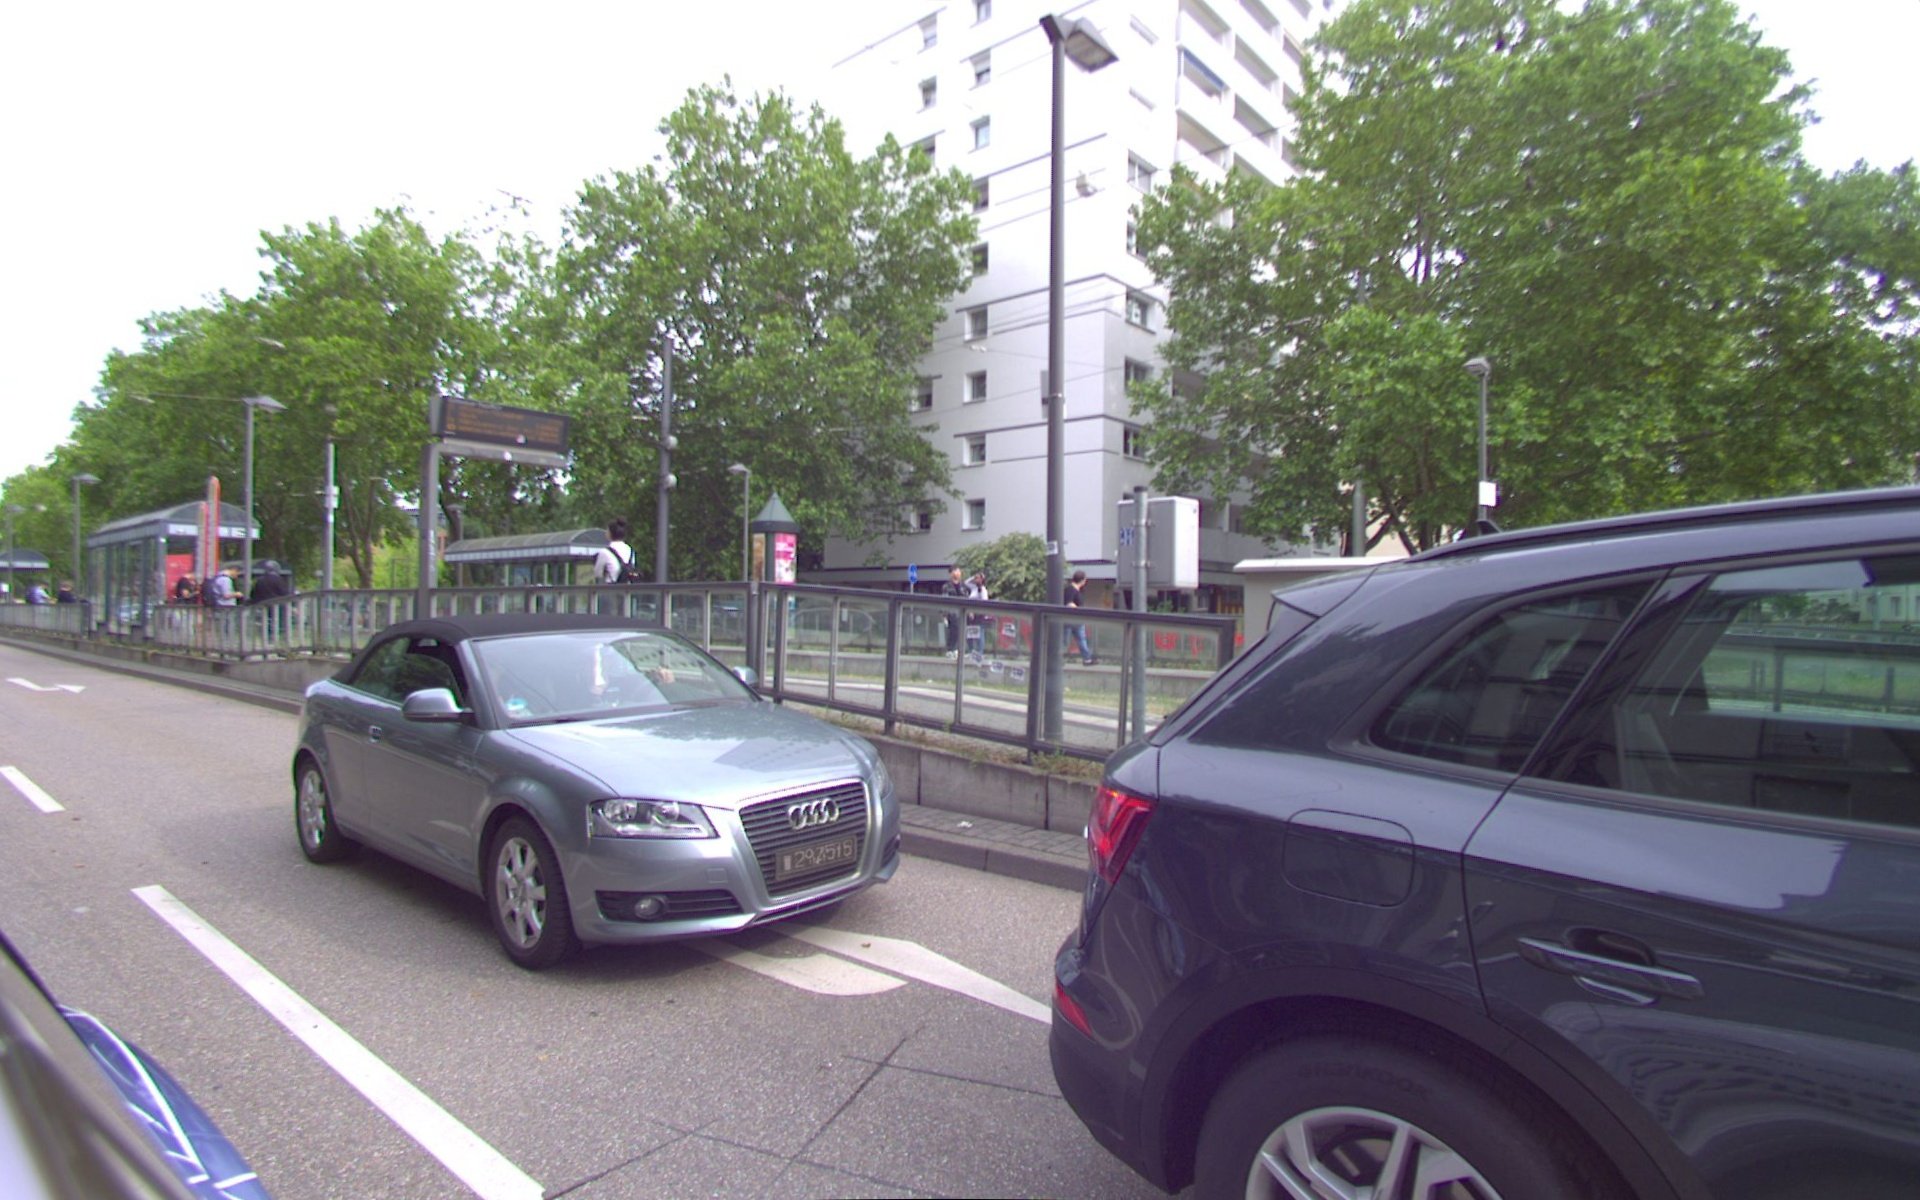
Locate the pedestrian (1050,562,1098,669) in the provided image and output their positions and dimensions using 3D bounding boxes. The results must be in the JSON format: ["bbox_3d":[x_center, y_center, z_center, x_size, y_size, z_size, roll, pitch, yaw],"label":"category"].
[{"bbox_3d":[1.939,0.254,17.214,0.548,1.764,0.614,0,0,42],"label":"pedestrian"}]

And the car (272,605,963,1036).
[{"bbox_3d":[-2.021,0.732,5.253,4.012,1.385,1.616,0,0,41],"label":"car"}]

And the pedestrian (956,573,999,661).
[{"bbox_3d":[0.338,0.324,19.726,0.565,1.681,0.614,0,0,42],"label":"pedestrian"}]

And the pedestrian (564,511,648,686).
[{"bbox_3d":[-3.721,-0.020,10.640,0.534,1.764,0.654,0,0,41],"label":"pedestrian"}]

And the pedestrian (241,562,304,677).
[{"bbox_3d":[-10.955,0.305,16.133,0.652,1.805,0.535,0,0,-9],"label":"pedestrian"}]

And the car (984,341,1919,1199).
[{"bbox_3d":[2.308,0.518,1.382,4.366,1.659,1.892,0,0,41],"label":"car"}]

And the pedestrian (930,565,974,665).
[{"bbox_3d":[-0.143,0.265,18.585,0.534,1.803,0.614,0,0,42],"label":"pedestrian"}]

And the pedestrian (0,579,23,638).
[{"bbox_3d":[-33.493,0.302,35.695,0.821,2.066,0.577,0,0,44],"label":"pedestrian"}]

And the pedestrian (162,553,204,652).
[{"bbox_3d":[-16.532,0.048,21.526,0.821,2.066,0.577,0,0,44],"label":"pedestrian"}]

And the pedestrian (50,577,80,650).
[{"bbox_3d":[-25.894,0.376,29.276,0.821,2.066,0.577,0,0,44],"label":"pedestrian"}]

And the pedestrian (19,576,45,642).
[{"bbox_3d":[-29.810,0.286,32.509,0.821,2.066,0.577,0,0,44],"label":"pedestrian"}]

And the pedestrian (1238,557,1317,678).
[{"bbox_3d":[4.662,0.251,14.859,0.878,1.708,0.733,0,0,42],"label":"pedestrian"}]

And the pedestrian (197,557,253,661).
[{"bbox_3d":[-13.149,0.149,18.094,0.821,1.805,0.674,0,0,44],"label":"pedestrian"}]
